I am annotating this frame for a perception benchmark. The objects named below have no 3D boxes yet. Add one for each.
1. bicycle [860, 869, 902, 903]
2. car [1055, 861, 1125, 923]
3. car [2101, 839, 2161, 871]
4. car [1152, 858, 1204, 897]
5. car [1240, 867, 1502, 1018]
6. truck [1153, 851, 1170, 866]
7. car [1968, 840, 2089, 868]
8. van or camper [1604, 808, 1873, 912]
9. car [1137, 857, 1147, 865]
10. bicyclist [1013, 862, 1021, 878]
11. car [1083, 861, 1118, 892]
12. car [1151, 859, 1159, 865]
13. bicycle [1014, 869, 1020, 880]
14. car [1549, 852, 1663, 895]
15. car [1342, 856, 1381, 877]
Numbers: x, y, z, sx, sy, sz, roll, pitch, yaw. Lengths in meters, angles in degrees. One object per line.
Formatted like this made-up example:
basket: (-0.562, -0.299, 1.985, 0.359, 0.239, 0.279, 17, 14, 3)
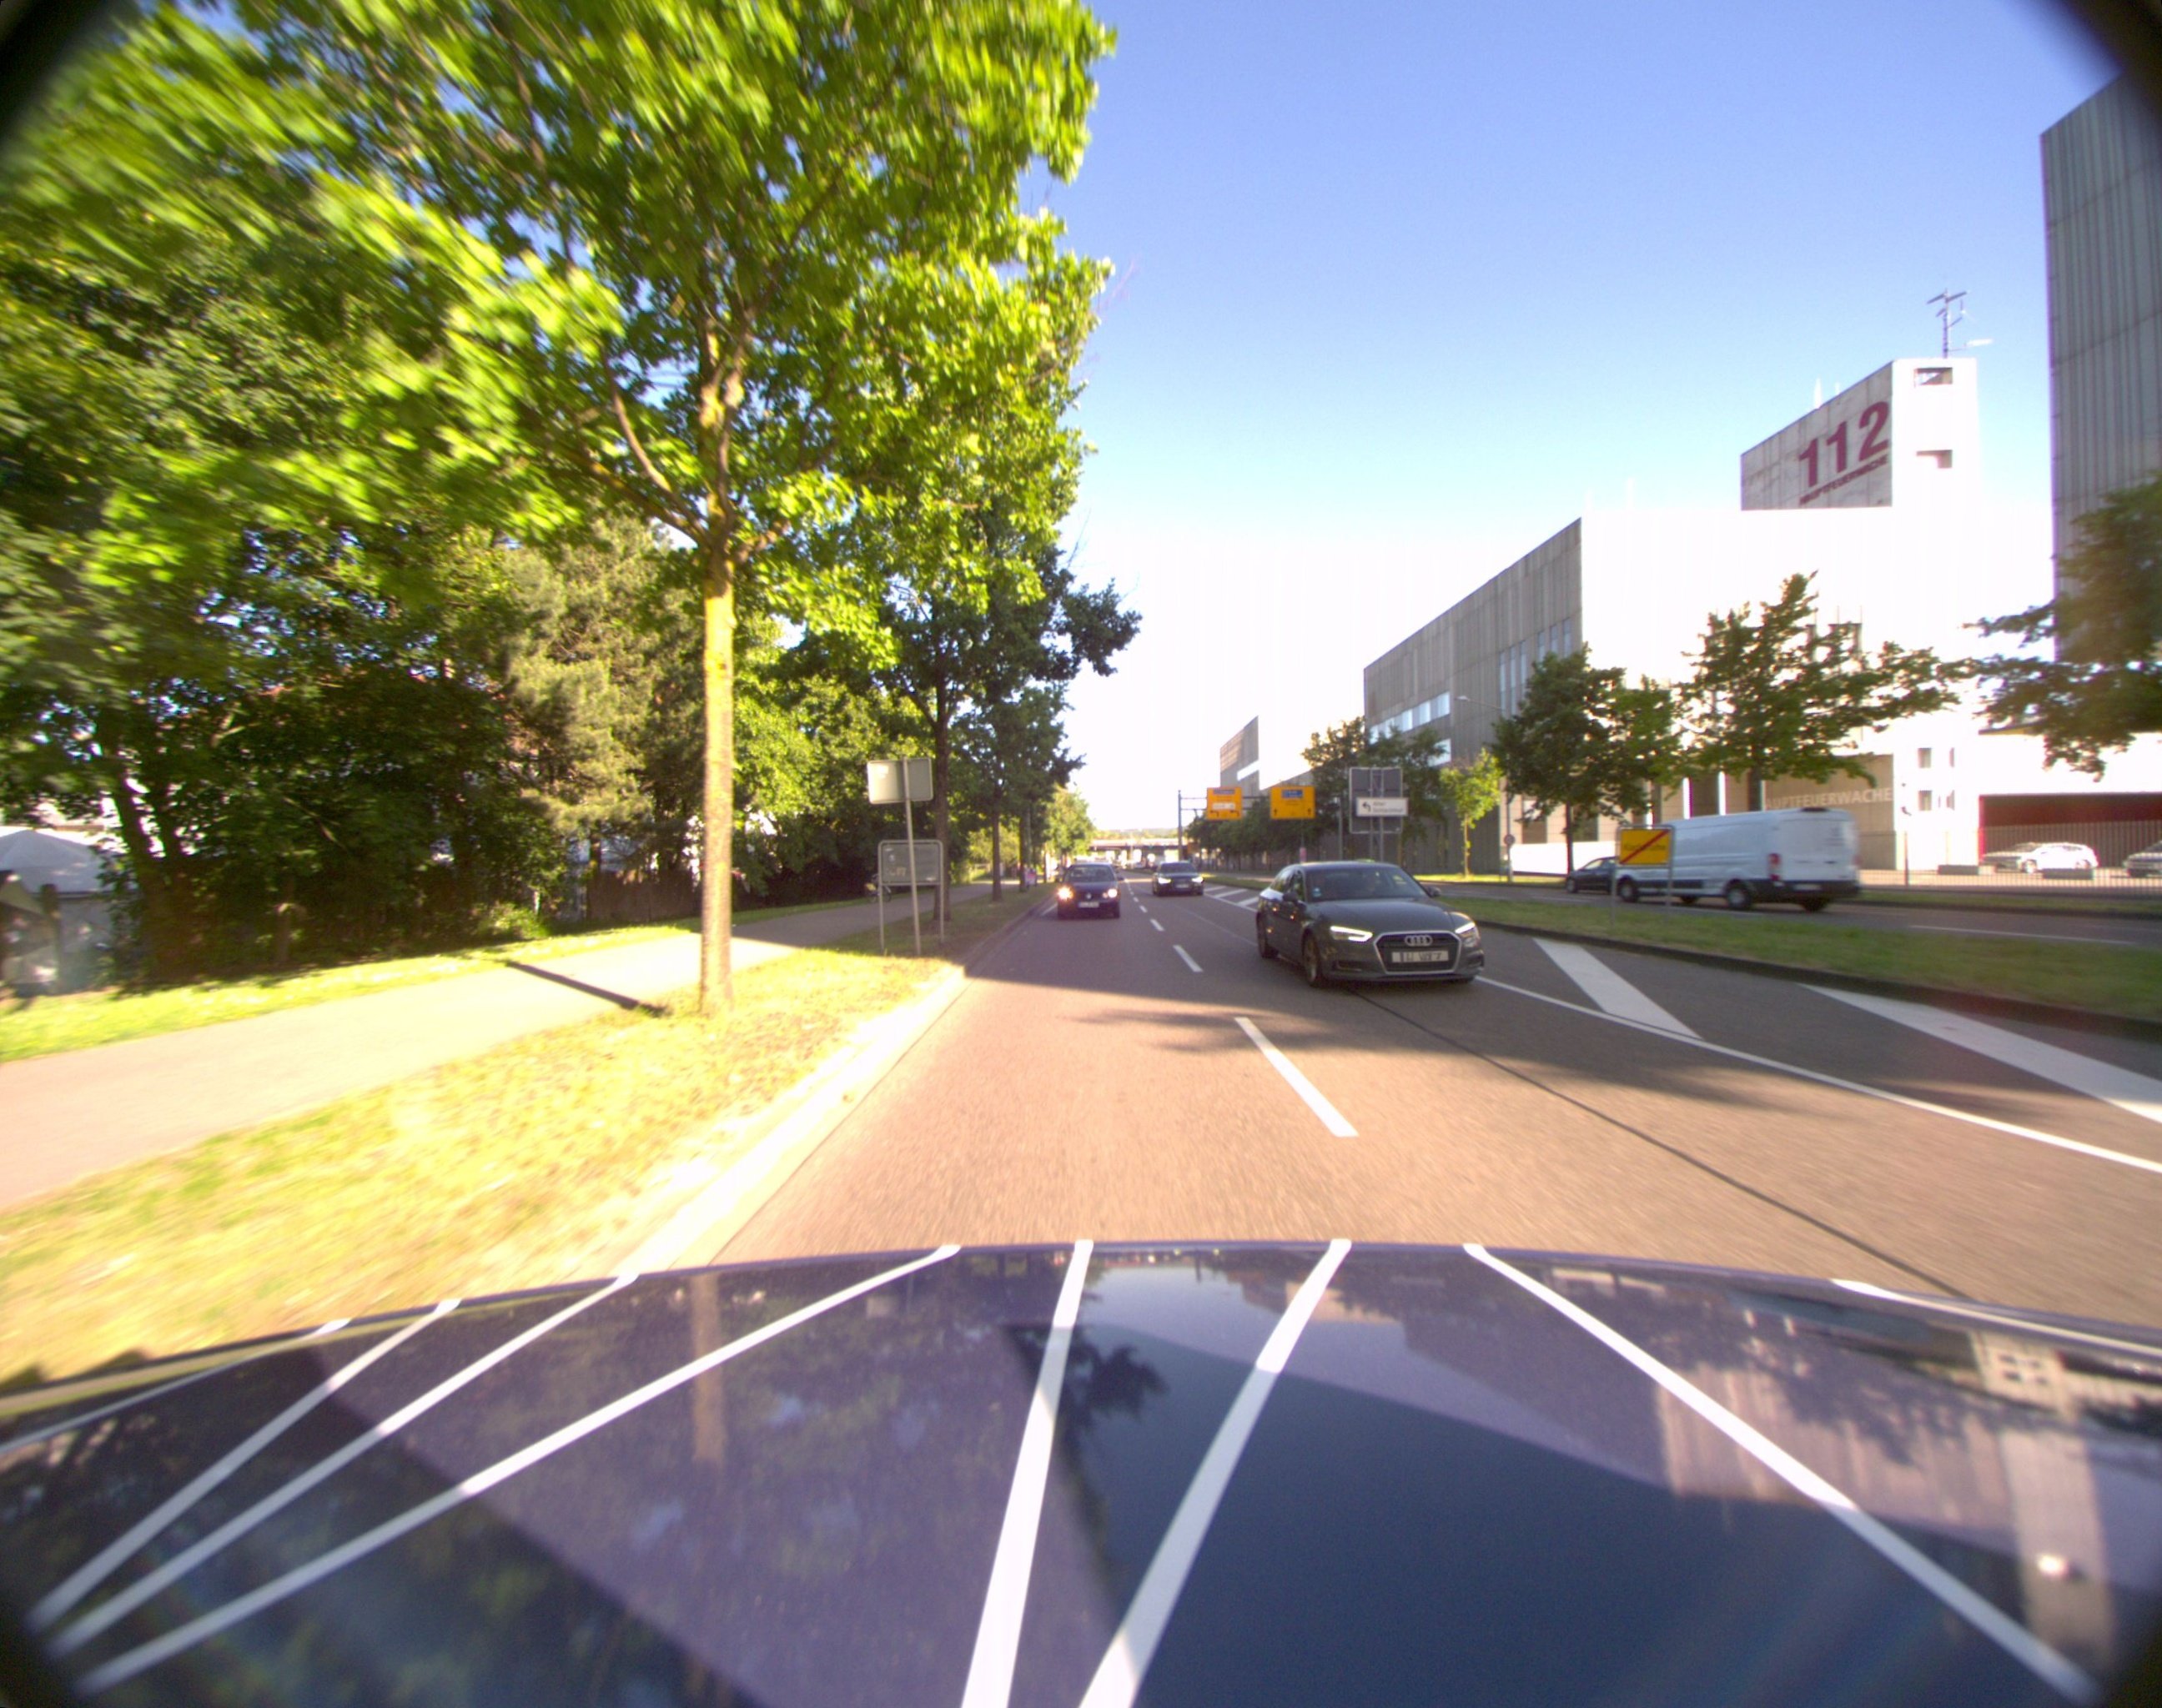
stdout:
bicycle: (-7.056, 1.102, 26.903, 0.775, 1.124, 1.710, -1, 0, 9)
car: (0.243, 0.968, 21.201, 1.702, 1.474, 4.052, -2, 0, 0)
car: (51.580, 0.015, 35.767, 4.398, 1.494, 1.936, -1, 0, 2)
car: (4.026, 0.936, 32.085, 1.702, 1.528, 3.947, 0, 0, 0)
car: (3.343, 0.916, 9.750, 1.702, 1.396, 4.365, -2, 0, 1)
truck: (15.730, 0.904, 148.382, 2.692, 2.943, 7.115, 1, 0, 1)
car: (51.799, 0.005, 41.590, 4.266, 1.444, 1.763, -1, 0, 2)
van or camper: (16.988, 0.157, 20.255, 1.998, 2.354, 5.993, 0, 0, 0)
car: (13.298, 1.496, 166.241, 1.828, 1.672, 4.659, 1, 0, 1)
bicyclist: (-6.584, 1.636, 77.937, 0.686, 1.513, 1.036, -1, 0, -2)
car: (0.954, 1.124, 39.250, 1.702, 1.478, 3.947, -1, 0, 0)
car: (17.570, 1.884, 179.512, 1.624, 1.461, 3.640, 1, -1, 1)
bicycle: (-6.604, 2.113, 77.955, 0.517, 1.066, 1.936, -1, 0, -2)
car: (19.981, 0.698, 29.134, 1.554, 1.499, 4.026, -1, 0, -1)
car: (20.050, 0.912, 54.447, 1.449, 1.428, 3.459, -1, 0, -1)
